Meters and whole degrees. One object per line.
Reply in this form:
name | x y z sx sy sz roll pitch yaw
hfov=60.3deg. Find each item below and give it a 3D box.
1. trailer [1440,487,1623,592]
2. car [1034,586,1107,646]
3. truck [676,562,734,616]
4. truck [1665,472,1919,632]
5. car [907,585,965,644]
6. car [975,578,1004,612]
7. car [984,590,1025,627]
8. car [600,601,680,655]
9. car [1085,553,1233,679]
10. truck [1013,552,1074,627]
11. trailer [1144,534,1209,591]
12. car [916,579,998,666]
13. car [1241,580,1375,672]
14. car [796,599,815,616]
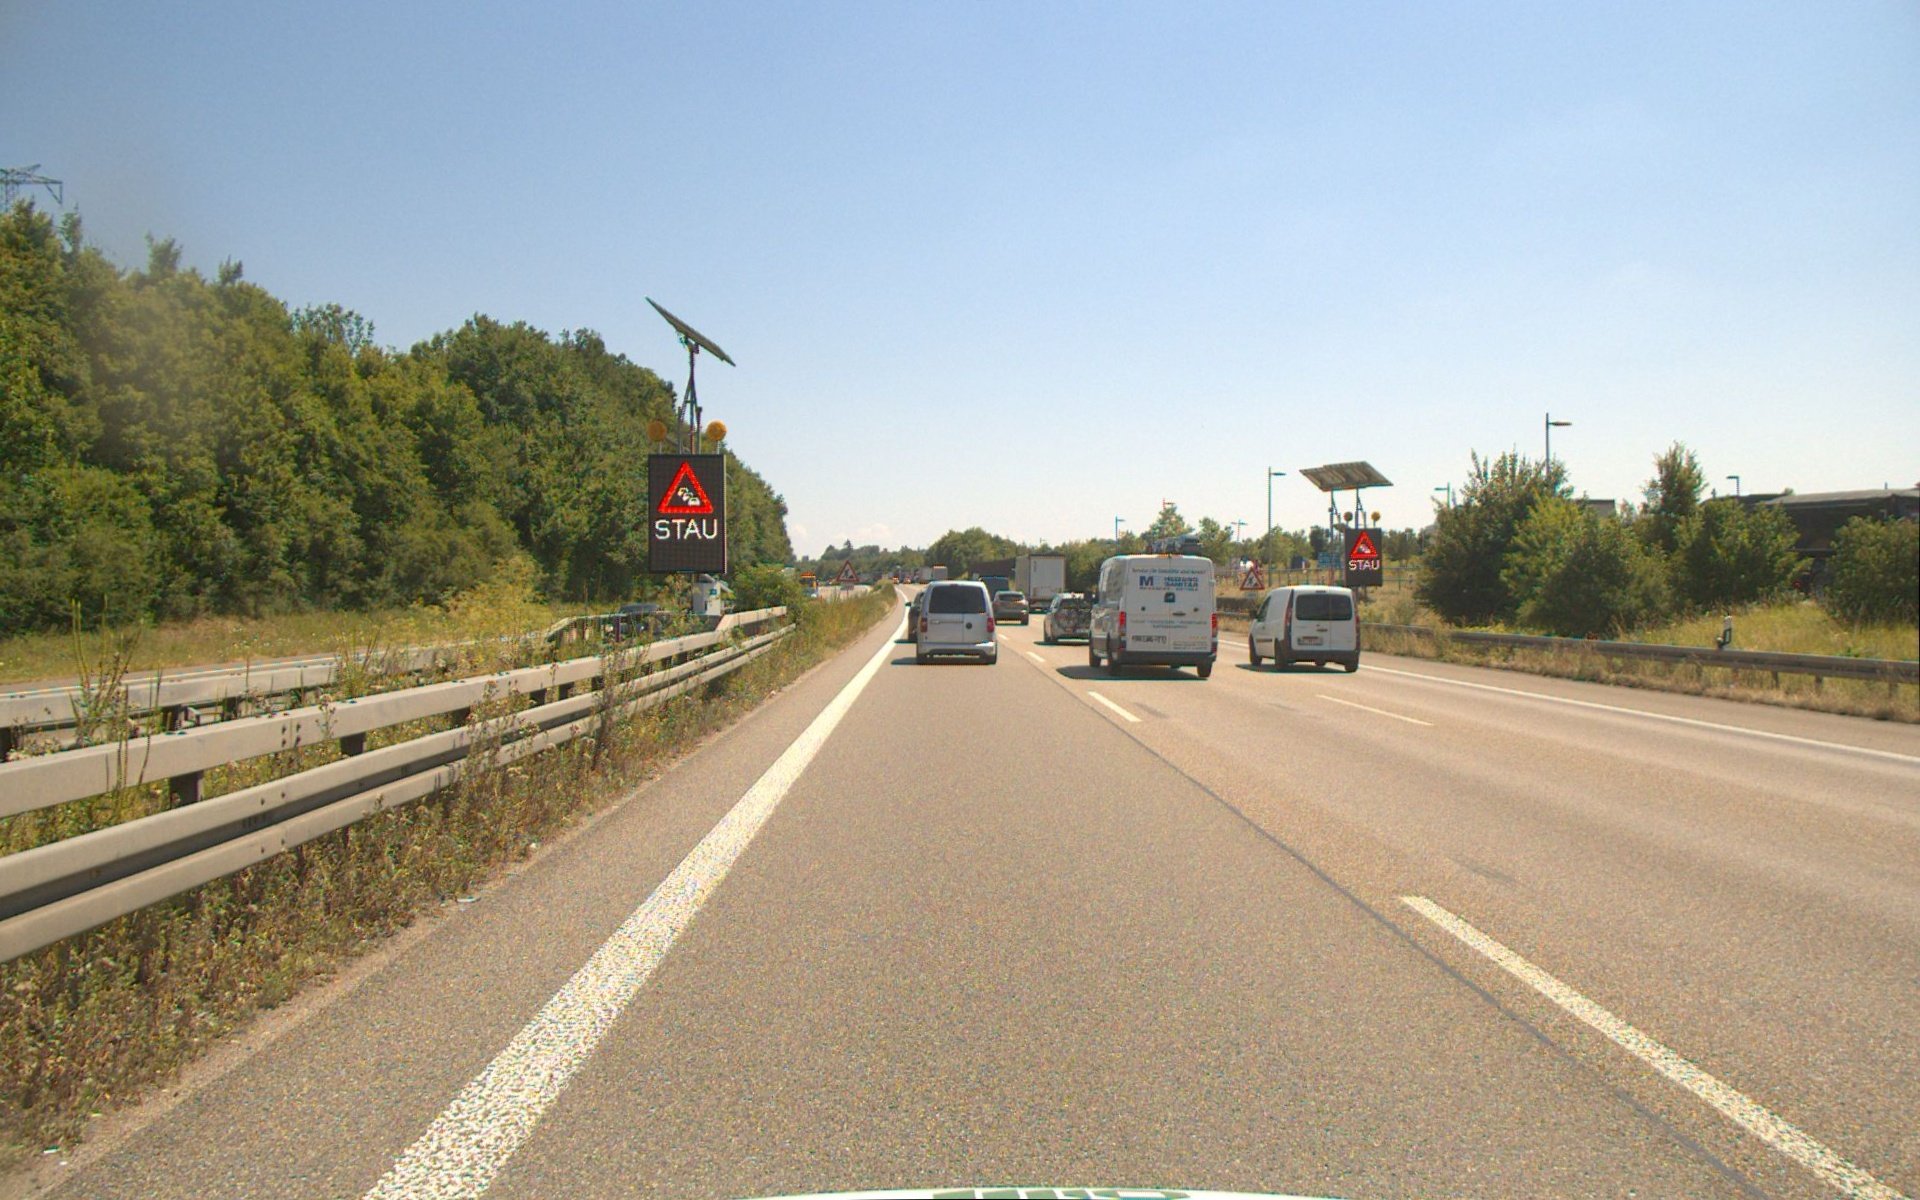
trailer | 25.527 -2.527 75.054 2.990 4.154 14.253 1 0 -1
car | 3.362 0.475 50.992 1.935 1.763 4.088 -1 0 0
truck | -19.433 -0.807 126.737 2.935 3.868 10.786 -1 0 -1
truck | 25.681 -1.196 49.504 3.711 4.154 12.517 1 0 0
car | -0.717 0.434 51.500 1.709 1.731 4.088 -1 0 0
car | 1.721 -0.298 97.108 1.640 1.925 4.088 -1 0 0
car | 2.105 0.426 79.546 1.863 1.701 4.088 -1 0 0
car | -9.753 0.821 50.619 1.689 1.553 3.999 -2 0 -1
car | 3.871 0.306 33.146 2.138 2.293 5.361 1 0 -2
truck | 5.932 -0.724 120.230 3.711 5.087 12.517 1 0 0
trailer | 18.235 -3.055 140.655 2.553 4.332 18.415 1 0 -2
car | -0.072 0.482 37.002 1.709 1.795 4.088 -1 0 0
car | 7.574 0.540 36.414 1.911 1.870 4.176 -1 0 -2
car | -17.013 0.812 182.049 1.689 1.685 4.858 -2 0 -2
